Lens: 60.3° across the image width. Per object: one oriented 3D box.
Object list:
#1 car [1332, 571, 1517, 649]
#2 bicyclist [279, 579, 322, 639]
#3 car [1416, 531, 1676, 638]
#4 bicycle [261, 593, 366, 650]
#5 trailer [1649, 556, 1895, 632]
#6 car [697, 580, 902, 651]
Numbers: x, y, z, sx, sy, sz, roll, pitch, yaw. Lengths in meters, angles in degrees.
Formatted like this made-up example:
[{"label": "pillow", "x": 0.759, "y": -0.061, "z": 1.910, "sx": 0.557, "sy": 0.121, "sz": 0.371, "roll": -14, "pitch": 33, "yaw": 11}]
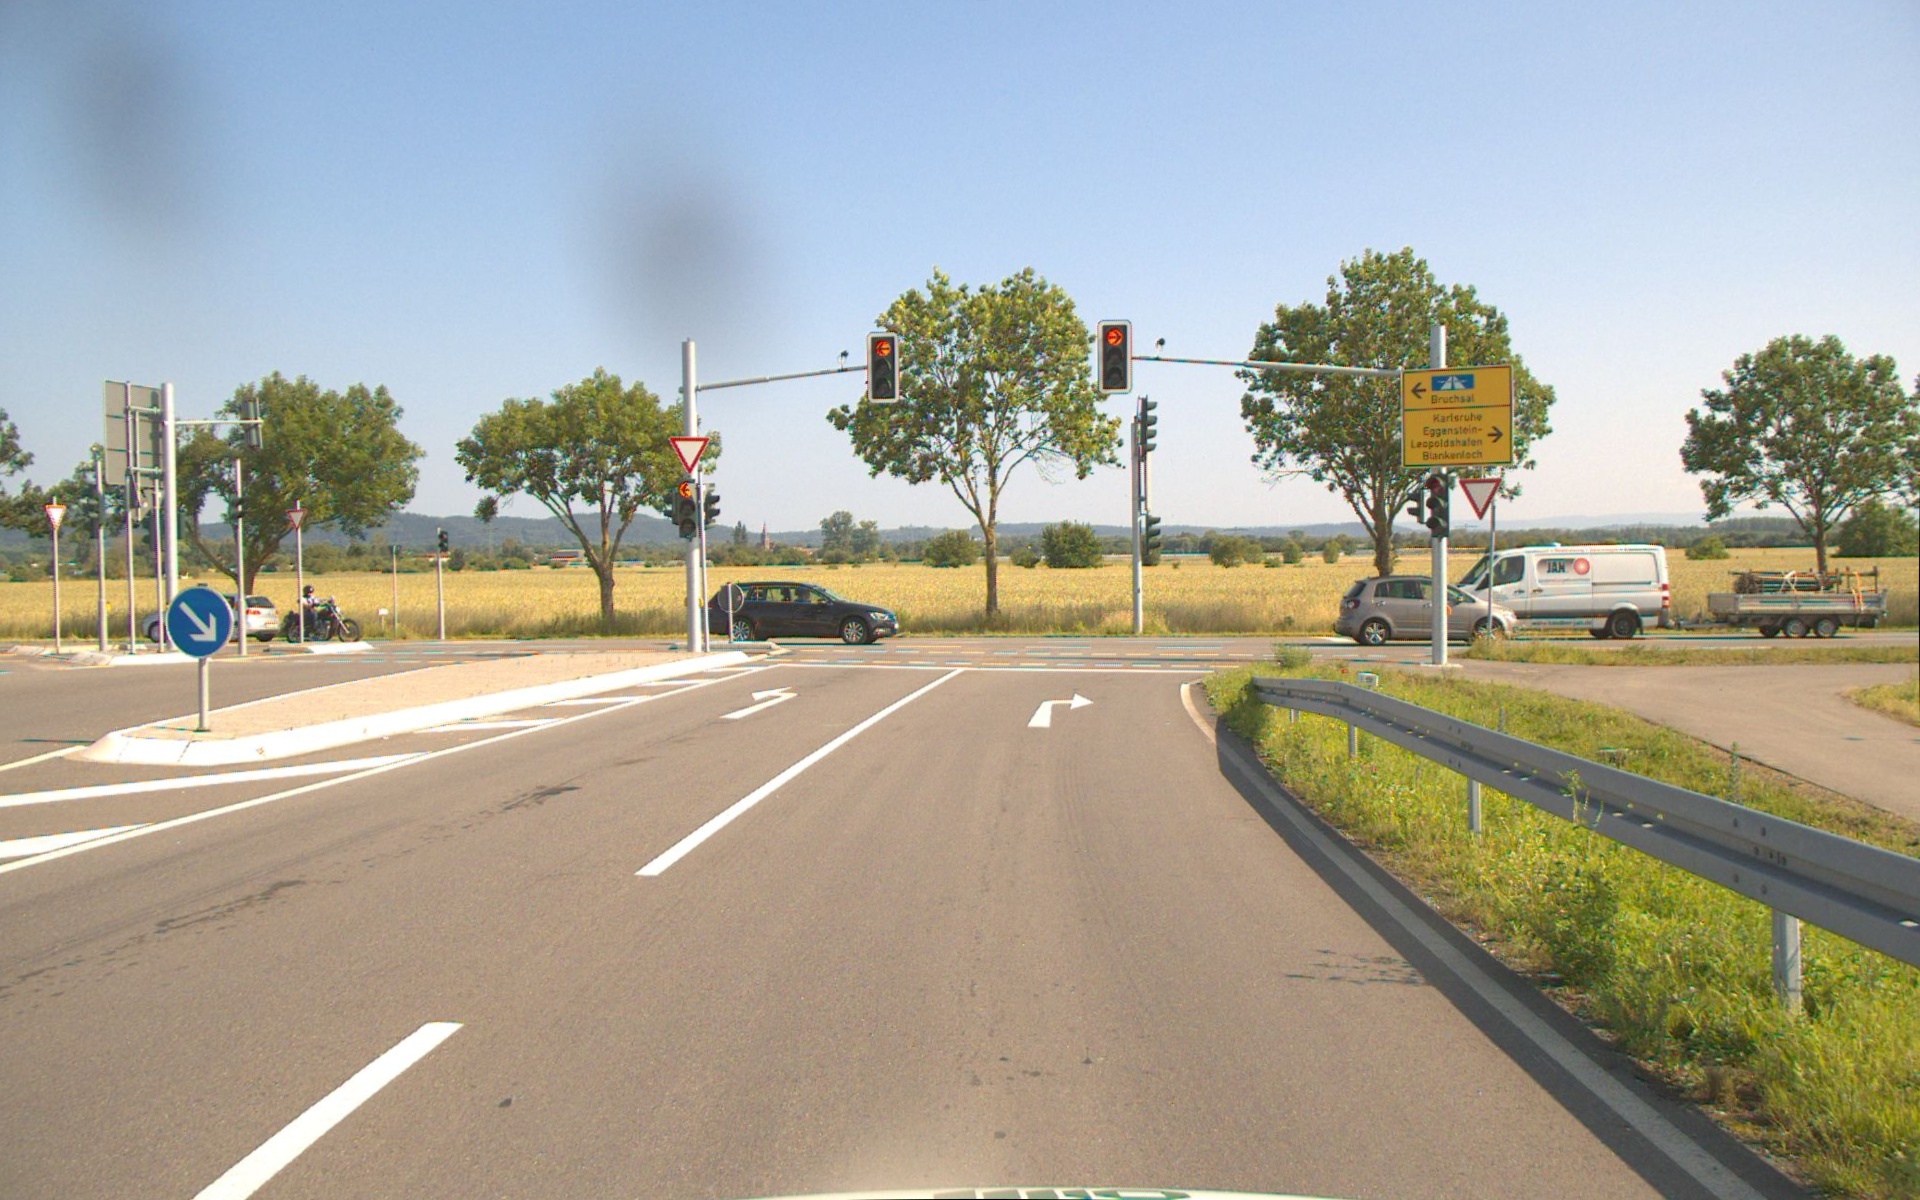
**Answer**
[{"label": "car", "x": 10.706, "y": 0.214, "z": 38.349, "sx": 3.871, "sy": 1.697, "sz": 1.765, "roll": 1, "pitch": 0, "yaw": 6}, {"label": "bicyclist", "x": -17.186, "y": 0.230, "z": 43.119, "sx": 0.791, "sy": 1.515, "sz": 0.757, "roll": 1, "pitch": 0, "yaw": 3}, {"label": "car", "x": 14.664, "y": -0.383, "z": 41.651, "sx": 5.831, "sy": 2.536, "sz": 2.001, "roll": 1, "pitch": 0, "yaw": 5}, {"label": "bicycle", "x": -16.843, "y": 0.555, "z": 43.109, "sx": 2.439, "sy": 1.421, "sz": 0.732, "roll": 1, "pitch": 0, "yaw": 1}, {"label": "trailer", "x": 20.142, "y": -0.158, "z": 41.196, "sx": 5.150, "sy": 1.783, "sz": 1.955, "roll": -1, "pitch": 0, "yaw": 5}, {"label": "car", "x": -3.791, "y": 0.356, "z": 39.575, "sx": 4.573, "sy": 1.545, "sz": 1.924, "roll": -1, "pitch": 2, "yaw": 6}]
